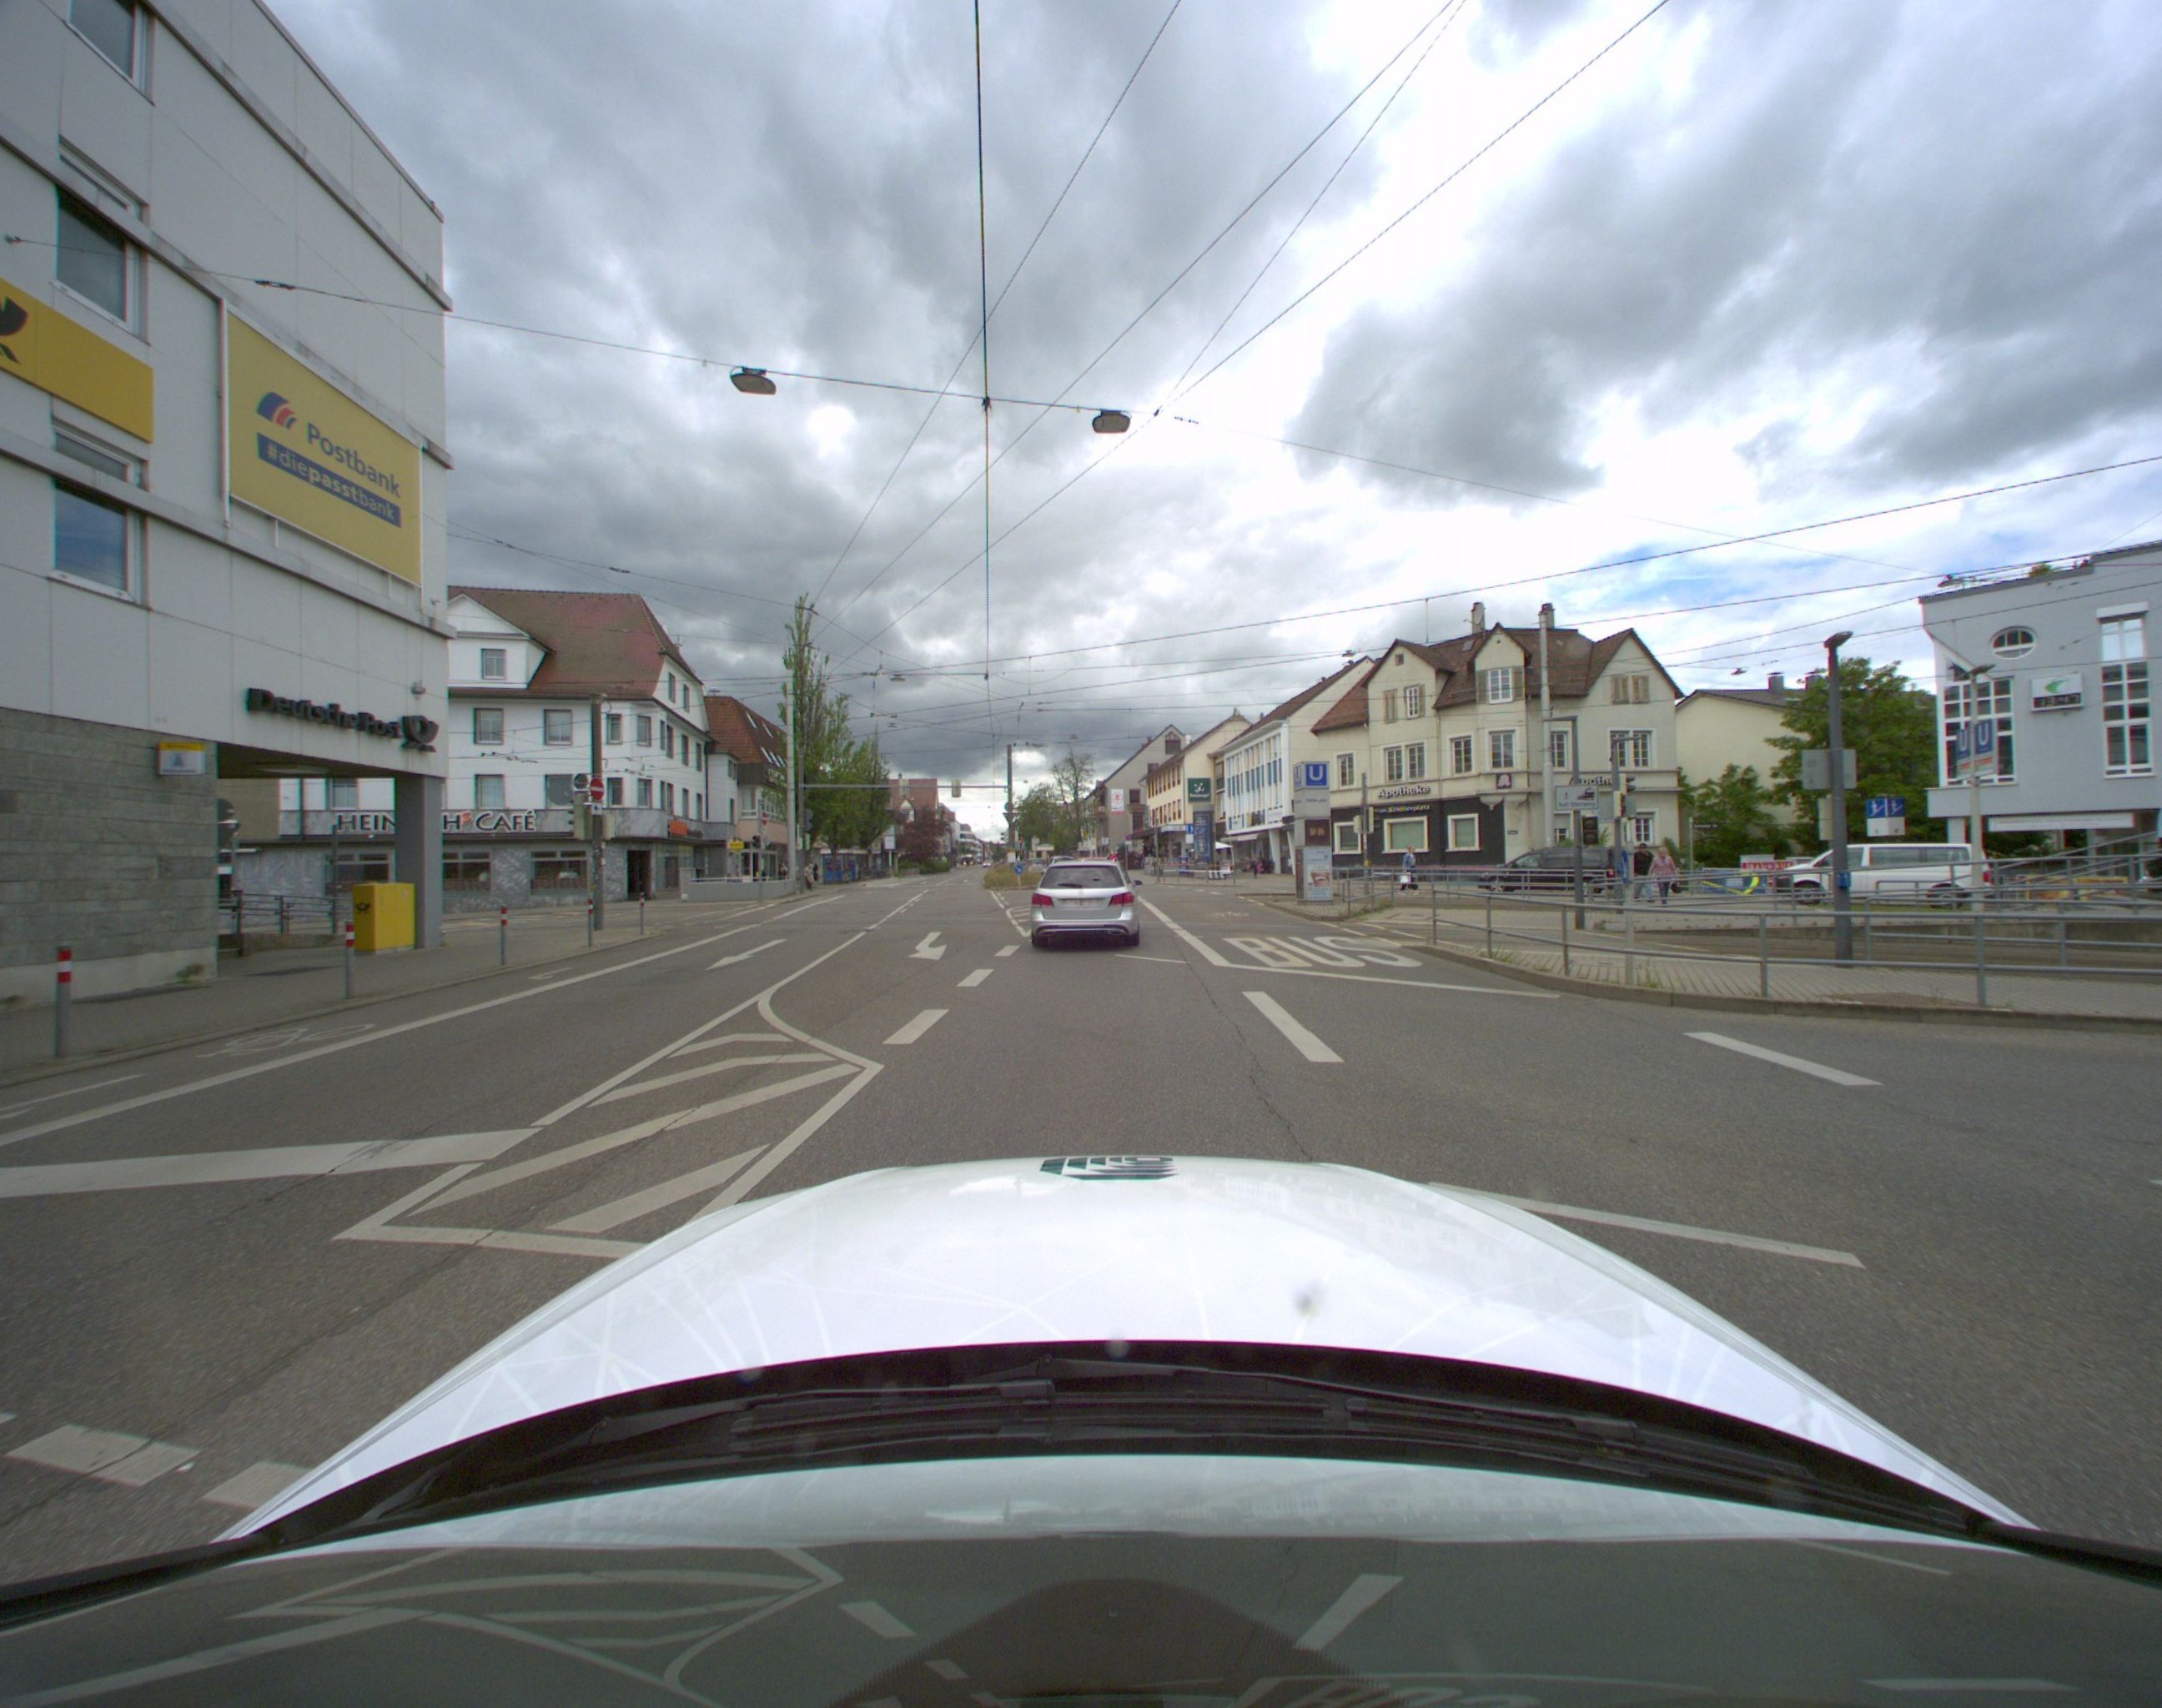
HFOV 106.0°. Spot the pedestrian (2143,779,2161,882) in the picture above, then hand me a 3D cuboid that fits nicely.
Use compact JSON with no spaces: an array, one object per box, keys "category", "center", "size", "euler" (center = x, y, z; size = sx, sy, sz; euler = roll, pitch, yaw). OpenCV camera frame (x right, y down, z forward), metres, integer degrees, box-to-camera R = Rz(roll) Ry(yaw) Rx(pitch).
[{"category":"pedestrian","center":[18.496,-0.398,13.646],"size":[0.641,1.718,0.709],"euler":[-2,-1,36]}]

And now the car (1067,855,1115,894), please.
[{"category":"car","center":[0.474,0.825,33.933],"size":[1.726,1.508,4.004],"euler":[-1,0,4]}]

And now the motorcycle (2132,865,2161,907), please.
[{"category":"motorcycle","center":[28.513,0.819,20.792],"size":[1.955,1.073,0.768],"euler":[-1,-2,45]}]

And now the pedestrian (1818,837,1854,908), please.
[{"category":"pedestrian","center":[18.800,0.441,20.291],"size":[0.641,1.718,0.794],"euler":[0,0,41]}]

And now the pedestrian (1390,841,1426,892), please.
[{"category":"pedestrian","center":[11.211,0.430,27.947],"size":[0.841,1.718,0.725],"euler":[-1,-1,-9]}]

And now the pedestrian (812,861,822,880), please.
[{"category":"pedestrian","center":[-22.516,1.381,69.472],"size":[0.706,1.606,0.574],"euler":[-1,-1,-27]}]

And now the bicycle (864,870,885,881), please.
[{"category":"bicycle","center":[-19.775,2.022,77.906],"size":[1.941,1.029,0.527],"euler":[0,-1,-16]}]

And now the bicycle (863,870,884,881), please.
[{"category":"bicycle","center":[-19.963,2.029,78.480],"size":[1.941,1.029,0.527],"euler":[0,-1,-16]}]

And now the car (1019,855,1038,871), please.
[{"category":"car","center":[-6.238,1.058,96.280],"size":[1.991,1.750,3.991],"euler":[-1,0,-6]}]

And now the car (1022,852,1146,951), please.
[{"category":"car","center":[0.211,0.759,14.880],"size":[1.837,1.508,4.177],"euler":[-2,0,5]}]

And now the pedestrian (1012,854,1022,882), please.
[{"category":"pedestrian","center":[-3.965,0.863,50.302],"size":[0.533,1.763,0.578],"euler":[-1,-1,-8]}]

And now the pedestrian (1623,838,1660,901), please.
[{"category":"pedestrian","center":[15.688,0.428,22.817],"size":[0.696,1.718,0.653],"euler":[-2,-1,24]}]

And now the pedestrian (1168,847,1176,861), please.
[{"category":"pedestrian","center":[8.338,0.007,74.512],"size":[0.533,1.218,0.578],"euler":[0,-1,-8]}]

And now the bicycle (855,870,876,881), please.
[{"category":"bicycle","center":[-20.225,2.009,76.452],"size":[1.941,1.029,0.527],"euler":[0,-1,-16]}]

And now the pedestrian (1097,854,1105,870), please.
[{"category":"pedestrian","center":[1.803,0.688,73.206],"size":[0.578,1.435,0.648],"euler":[0,-1,-12]}]

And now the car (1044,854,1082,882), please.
[{"category":"car","center":[-1.115,0.818,48.092],"size":[1.733,1.508,3.989],"euler":[-2,0,-8]}]

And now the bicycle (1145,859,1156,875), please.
[{"category":"bicycle","center":[4.999,0.920,58.608],"size":[0.447,1.091,2.145],"euler":[-1,0,-5]}]

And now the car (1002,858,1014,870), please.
[{"category":"car","center":[-12.971,1.770,144.485],"size":[1.992,2.014,3.989],"euler":[-1,0,-8]}]

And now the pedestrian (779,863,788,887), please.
[{"category":"pedestrian","center":[-23.133,1.613,63.278],"size":[0.644,1.836,0.576],"euler":[-1,-1,-20]}]

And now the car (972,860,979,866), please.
[{"category":"car","center":[-31.898,2.740,246.819],"size":[1.993,2.014,3.987],"euler":[0,-1,-9]}]

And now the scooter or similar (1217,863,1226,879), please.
[{"category":"scooter or similar","center":[8.941,1.053,51.830],"size":[0.271,1.001,1.026],"euler":[-1,-1,-9]}]

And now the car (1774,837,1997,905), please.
[{"category":"car","center":[24.593,0.530,25.148],"size":[4.724,1.919,2.001],"euler":[-1,-2,45]}]

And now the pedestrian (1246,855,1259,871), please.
[{"category":"pedestrian","center":[12.580,0.642,59.807],"size":[0.736,1.164,0.641],"euler":[0,-1,-9]}]

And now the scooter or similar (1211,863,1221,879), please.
[{"category":"scooter or similar","center":[8.583,1.094,51.758],"size":[0.271,1.001,1.026],"euler":[-1,-1,-9]}]

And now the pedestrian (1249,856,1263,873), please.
[{"category":"pedestrian","center":[12.236,0.721,56.963],"size":[0.736,1.164,0.641],"euler":[0,-1,-9]}]

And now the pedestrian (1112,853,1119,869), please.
[{"category":"pedestrian","center":[3.058,0.636,72.364],"size":[0.576,1.469,0.651],"euler":[0,-1,1]}]

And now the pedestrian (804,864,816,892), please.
[{"category":"pedestrian","center":[-15.587,1.360,46.849],"size":[0.635,1.606,0.700],"euler":[-1,-1,-19]}]

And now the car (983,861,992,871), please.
[{"category":"car","center":[-20.101,2.636,174.812],"size":[1.992,2.014,3.989],"euler":[-1,0,-8]}]

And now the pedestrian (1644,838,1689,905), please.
[{"category":"pedestrian","center":[15.353,0.447,21.369],"size":[0.781,1.718,0.652],"euler":[0,0,12]}]

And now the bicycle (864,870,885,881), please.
[{"category":"bicycle","center":[-19.572,2.014,77.266],"size":[1.941,1.029,0.527],"euler":[0,-1,-16]}]

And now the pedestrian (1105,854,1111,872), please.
[{"category":"pedestrian","center":[2.508,0.799,75.917],"size":[0.576,1.666,0.651],"euler":[0,-1,0]}]

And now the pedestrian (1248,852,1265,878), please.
[{"category":"pedestrian","center":[10.996,0.683,51.134],"size":[0.644,1.591,0.890],"euler":[0,-1,-26]}]

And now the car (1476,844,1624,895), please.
[{"category":"car","center":[17.733,0.592,30.926],"size":[4.635,1.821,1.876],"euler":[-1,-2,38]}]

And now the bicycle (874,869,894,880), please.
[{"category":"bicycle","center":[-19.672,2.058,81.256],"size":[1.941,1.029,0.527],"euler":[0,-1,-16]}]

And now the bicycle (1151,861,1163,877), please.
[{"category":"bicycle","center":[5.448,1.067,58.656],"size":[0.447,1.107,2.145],"euler":[-1,0,-5]}]

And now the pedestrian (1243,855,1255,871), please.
[{"category":"pedestrian","center":[12.482,0.643,60.457],"size":[0.736,1.164,0.641],"euler":[0,-1,-9]}]

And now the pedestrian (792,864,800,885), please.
[{"category":"pedestrian","center":[-22.618,1.625,64.560],"size":[0.579,1.606,0.640],"euler":[-1,-1,-19]}]

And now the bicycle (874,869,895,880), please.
[{"category":"bicycle","center":[-19.372,2.046,80.313],"size":[1.941,1.029,0.527],"euler":[0,-1,-16]}]

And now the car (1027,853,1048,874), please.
[{"category":"car","center":[-3.871,0.801,72.634],"size":[1.731,1.759,3.993],"euler":[-2,0,-5]}]
